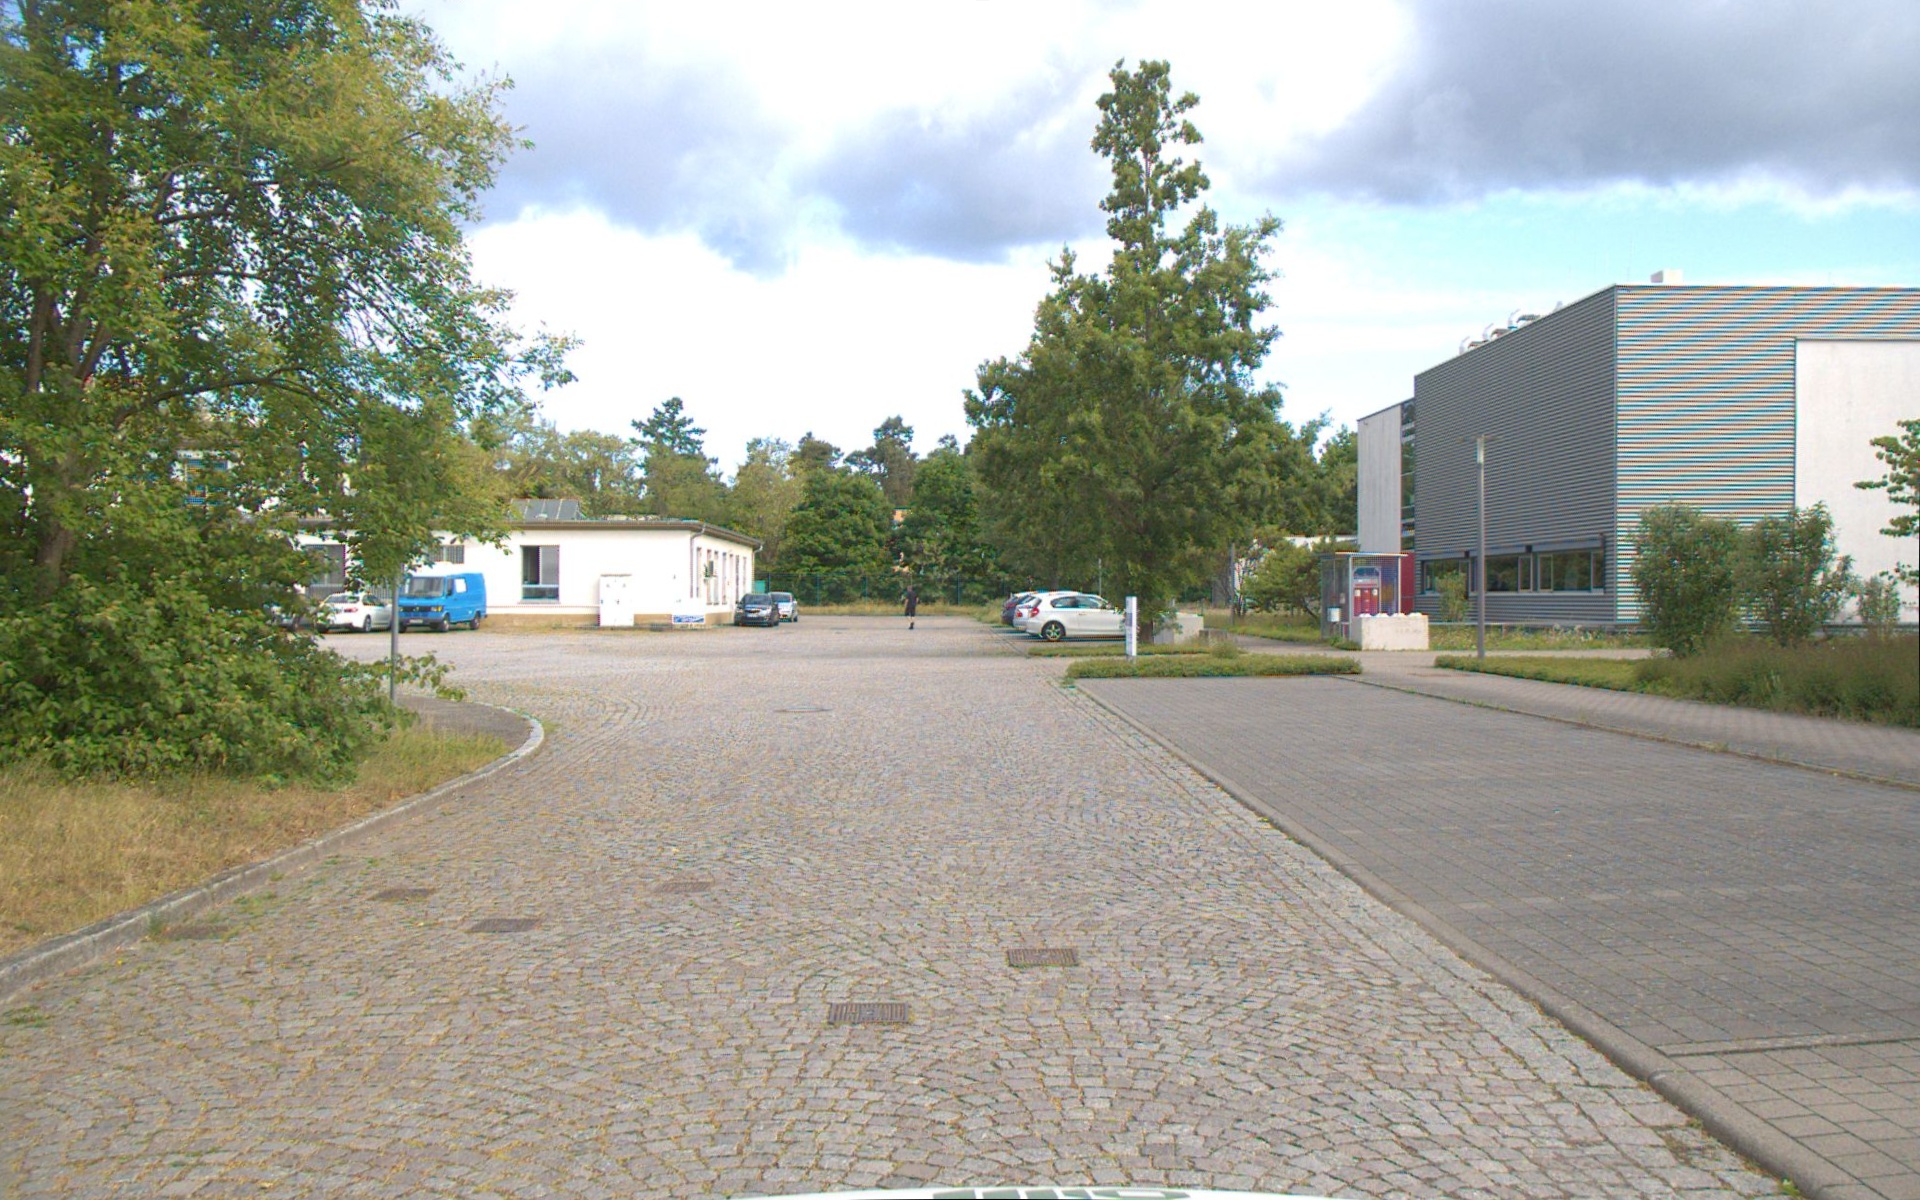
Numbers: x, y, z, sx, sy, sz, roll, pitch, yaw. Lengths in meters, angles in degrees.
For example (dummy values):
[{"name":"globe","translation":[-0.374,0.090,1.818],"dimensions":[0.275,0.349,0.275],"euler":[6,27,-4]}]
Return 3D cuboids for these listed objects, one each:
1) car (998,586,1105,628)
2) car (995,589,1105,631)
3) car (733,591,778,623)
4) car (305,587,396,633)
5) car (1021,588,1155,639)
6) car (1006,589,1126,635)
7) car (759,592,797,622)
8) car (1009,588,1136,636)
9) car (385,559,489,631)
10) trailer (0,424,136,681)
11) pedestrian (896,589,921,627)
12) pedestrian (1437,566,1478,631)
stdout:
[{"name":"car","translation":[3.497,0.262,63.643],"dimensions":[3.909,1.560,1.998],"euler":[0,0,-5]},{"name":"car","translation":[3.245,0.347,60.421],"dimensions":[3.906,1.481,1.769],"euler":[0,0,-1]},{"name":"car","translation":[-9.128,0.317,73.977],"dimensions":[1.714,1.388,3.997],"euler":[0,0,-4]},{"name":"car","translation":[-22.335,0.346,60.784],"dimensions":[1.862,1.602,4.000],"euler":[0,0,0]},{"name":"car","translation":[3.863,0.423,50.322],"dimensions":[3.906,1.481,1.999],"euler":[0,-1,-1]},{"name":"car","translation":[3.522,0.401,55.523],"dimensions":[3.906,1.481,1.769],"euler":[0,0,-1]},{"name":"car","translation":[-9.224,0.336,84.207],"dimensions":[1.714,1.480,3.997],"euler":[0,0,-4]},{"name":"car","translation":[3.528,0.384,52.483],"dimensions":[3.906,1.481,1.697],"euler":[0,0,-1]},{"name":"car","translation":[-19.558,-0.188,62.130],"dimensions":[1.952,2.567,5.619],"euler":[0,0,2]},{"name":"trailer","translation":[-15.424,-0.686,22.764],"dimensions":[2.602,3.770,10.723],"euler":[0,0,1]},{"name":"pedestrian","translation":[-2.200,0.344,70.543],"dimensions":[0.922,1.596,0.969],"euler":[0,0,-10]},{"name":"pedestrian","translation":[15.347,-0.043,51.061],"dimensions":[0.908,1.970,0.846],"euler":[0,0,-31]}]
